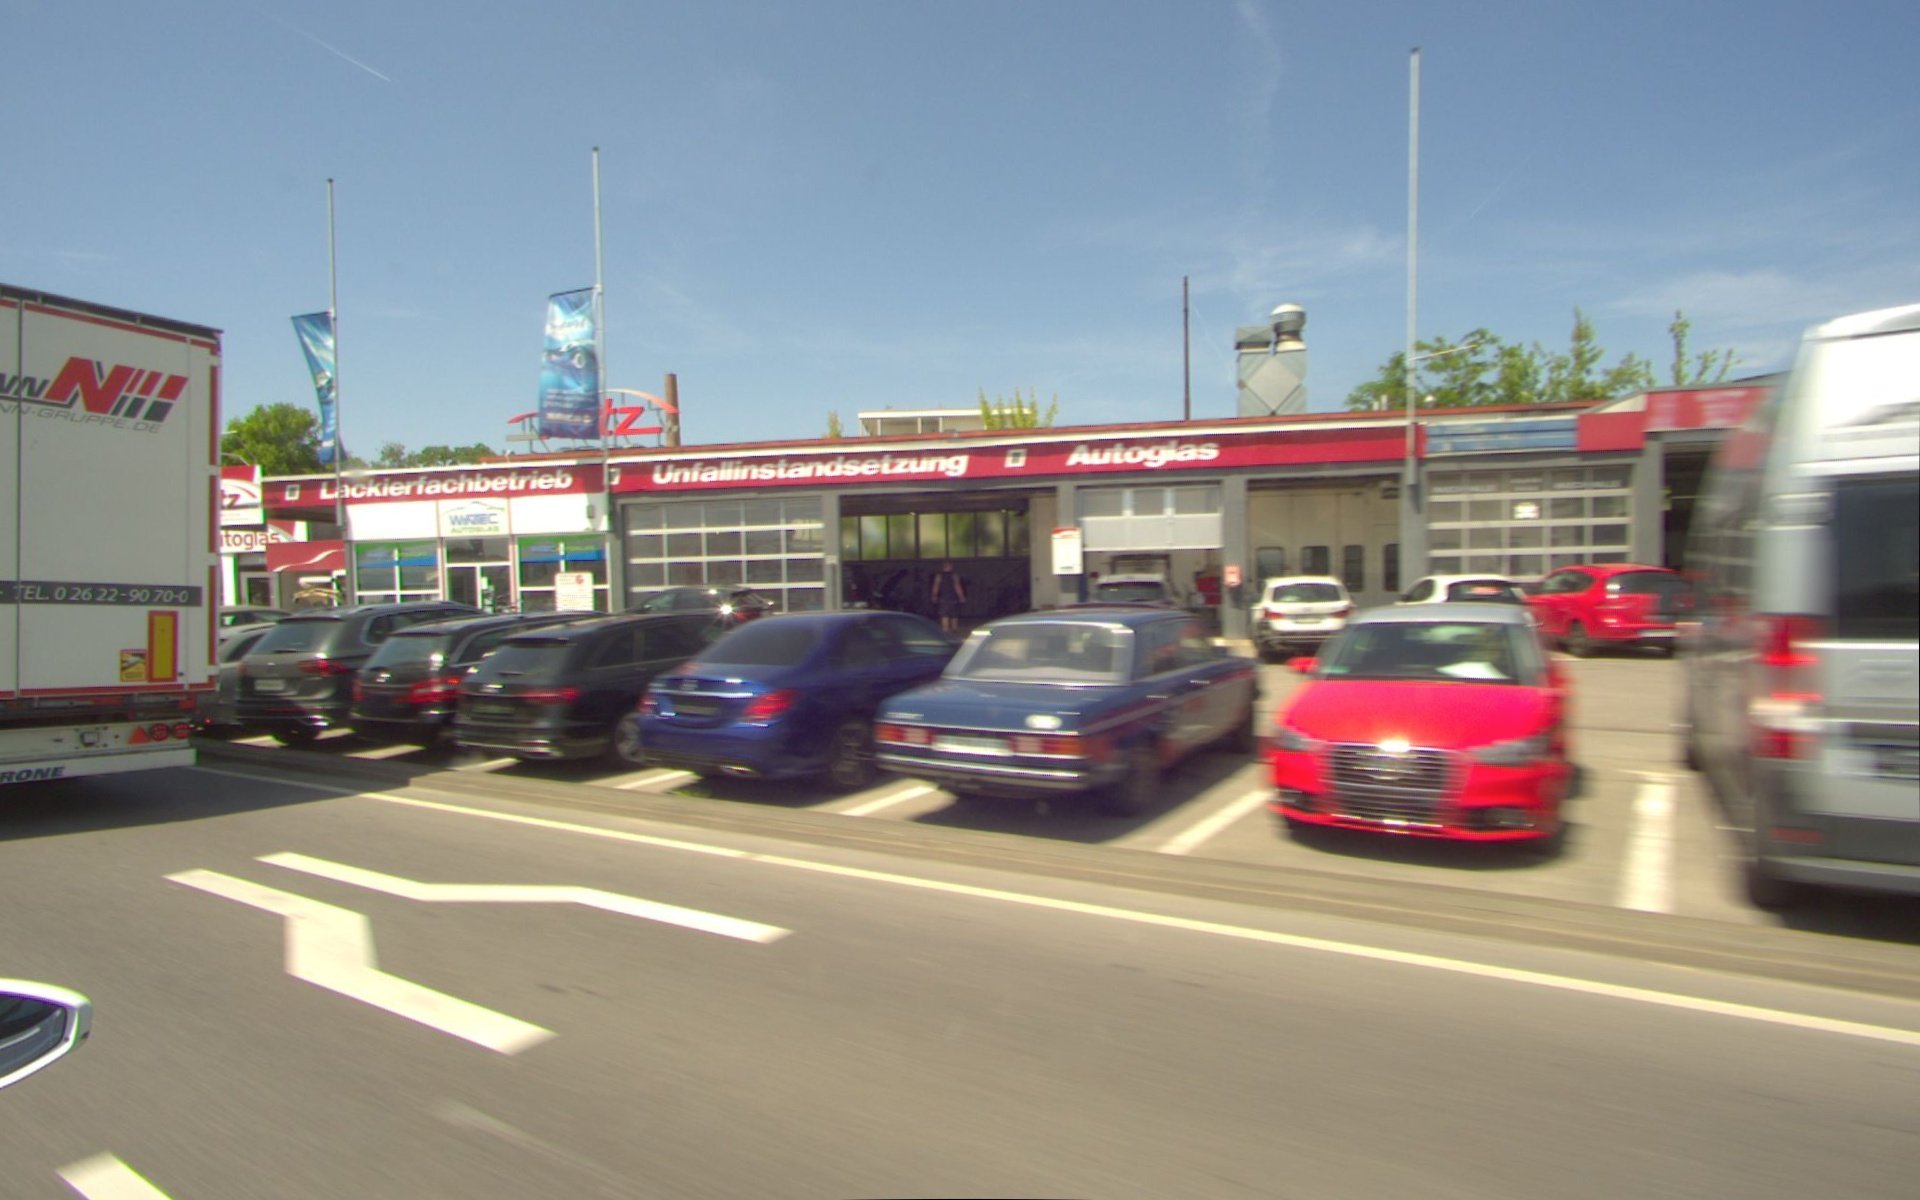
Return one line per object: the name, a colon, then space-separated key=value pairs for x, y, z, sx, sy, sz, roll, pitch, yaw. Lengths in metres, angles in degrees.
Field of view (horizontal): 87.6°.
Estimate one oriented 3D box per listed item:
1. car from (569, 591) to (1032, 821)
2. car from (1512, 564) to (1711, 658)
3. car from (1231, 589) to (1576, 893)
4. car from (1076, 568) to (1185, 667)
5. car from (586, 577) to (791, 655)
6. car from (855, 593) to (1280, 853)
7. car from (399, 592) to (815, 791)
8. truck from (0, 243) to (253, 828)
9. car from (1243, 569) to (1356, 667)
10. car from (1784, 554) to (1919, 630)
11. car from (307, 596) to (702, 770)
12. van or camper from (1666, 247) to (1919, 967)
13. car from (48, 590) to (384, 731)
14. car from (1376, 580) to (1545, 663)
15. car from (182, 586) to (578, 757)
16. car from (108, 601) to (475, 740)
car: x=-1.242 y=0.785 z=9.692 sx=2.132 sy=1.433 sz=4.252 roll=-1 pitch=3 yaw=31
car: x=11.632 y=0.221 z=18.176 sx=1.646 sy=1.468 sz=3.599 roll=-3 pitch=-2 yaw=9
car: x=3.324 y=0.720 z=7.098 sx=1.731 sy=1.514 sz=3.532 roll=-1 pitch=1 yaw=33
car: x=3.403 y=0.297 z=19.445 sx=1.821 sy=1.710 sz=3.995 roll=-1 pitch=1 yaw=13
car: x=-6.176 y=0.388 z=22.975 sx=4.089 sy=1.678 sz=1.953 roll=-1 pitch=-1 yaw=12
car: x=1.216 y=0.750 z=8.483 sx=1.757 sy=1.539 sz=4.503 roll=-1 pitch=1 yaw=32
car: x=-3.554 y=0.805 z=10.916 sx=1.947 sy=1.502 sz=4.005 roll=-1 pitch=3 yaw=26
truck: x=-13.979 y=-0.321 z=11.990 sx=17.390 sy=4.147 sz=2.966 roll=-1 pitch=-1 yaw=34
car: x=6.415 y=0.263 z=19.152 sx=1.822 sy=1.596 sz=3.990 roll=-1 pitch=3 yaw=17
car: x=21.727 y=-0.187 z=23.638 sx=1.878 sy=1.639 sz=3.996 roll=-1 pitch=0 yaw=12
car: x=-5.289 y=0.853 z=12.236 sx=1.947 sy=1.502 sz=4.005 roll=-1 pitch=3 yaw=26
van or camper: x=5.597 y=0.010 z=5.848 sx=2.201 sy=2.766 sz=5.462 roll=0 pitch=0 yaw=33
car: x=-11.867 y=0.846 z=16.234 sx=1.916 sy=1.715 sz=3.842 roll=-1 pitch=5 yaw=32
car: x=9.134 y=0.400 z=18.595 sx=1.645 sy=1.392 sz=3.600 roll=0 pitch=-1 yaw=6
car: x=-7.418 y=0.803 z=13.334 sx=2.164 sy=1.698 sz=4.010 roll=-2 pitch=3 yaw=21
car: x=-9.741 y=0.916 z=14.977 sx=1.766 sy=1.442 sz=4.125 roll=-1 pitch=4 yaw=29
